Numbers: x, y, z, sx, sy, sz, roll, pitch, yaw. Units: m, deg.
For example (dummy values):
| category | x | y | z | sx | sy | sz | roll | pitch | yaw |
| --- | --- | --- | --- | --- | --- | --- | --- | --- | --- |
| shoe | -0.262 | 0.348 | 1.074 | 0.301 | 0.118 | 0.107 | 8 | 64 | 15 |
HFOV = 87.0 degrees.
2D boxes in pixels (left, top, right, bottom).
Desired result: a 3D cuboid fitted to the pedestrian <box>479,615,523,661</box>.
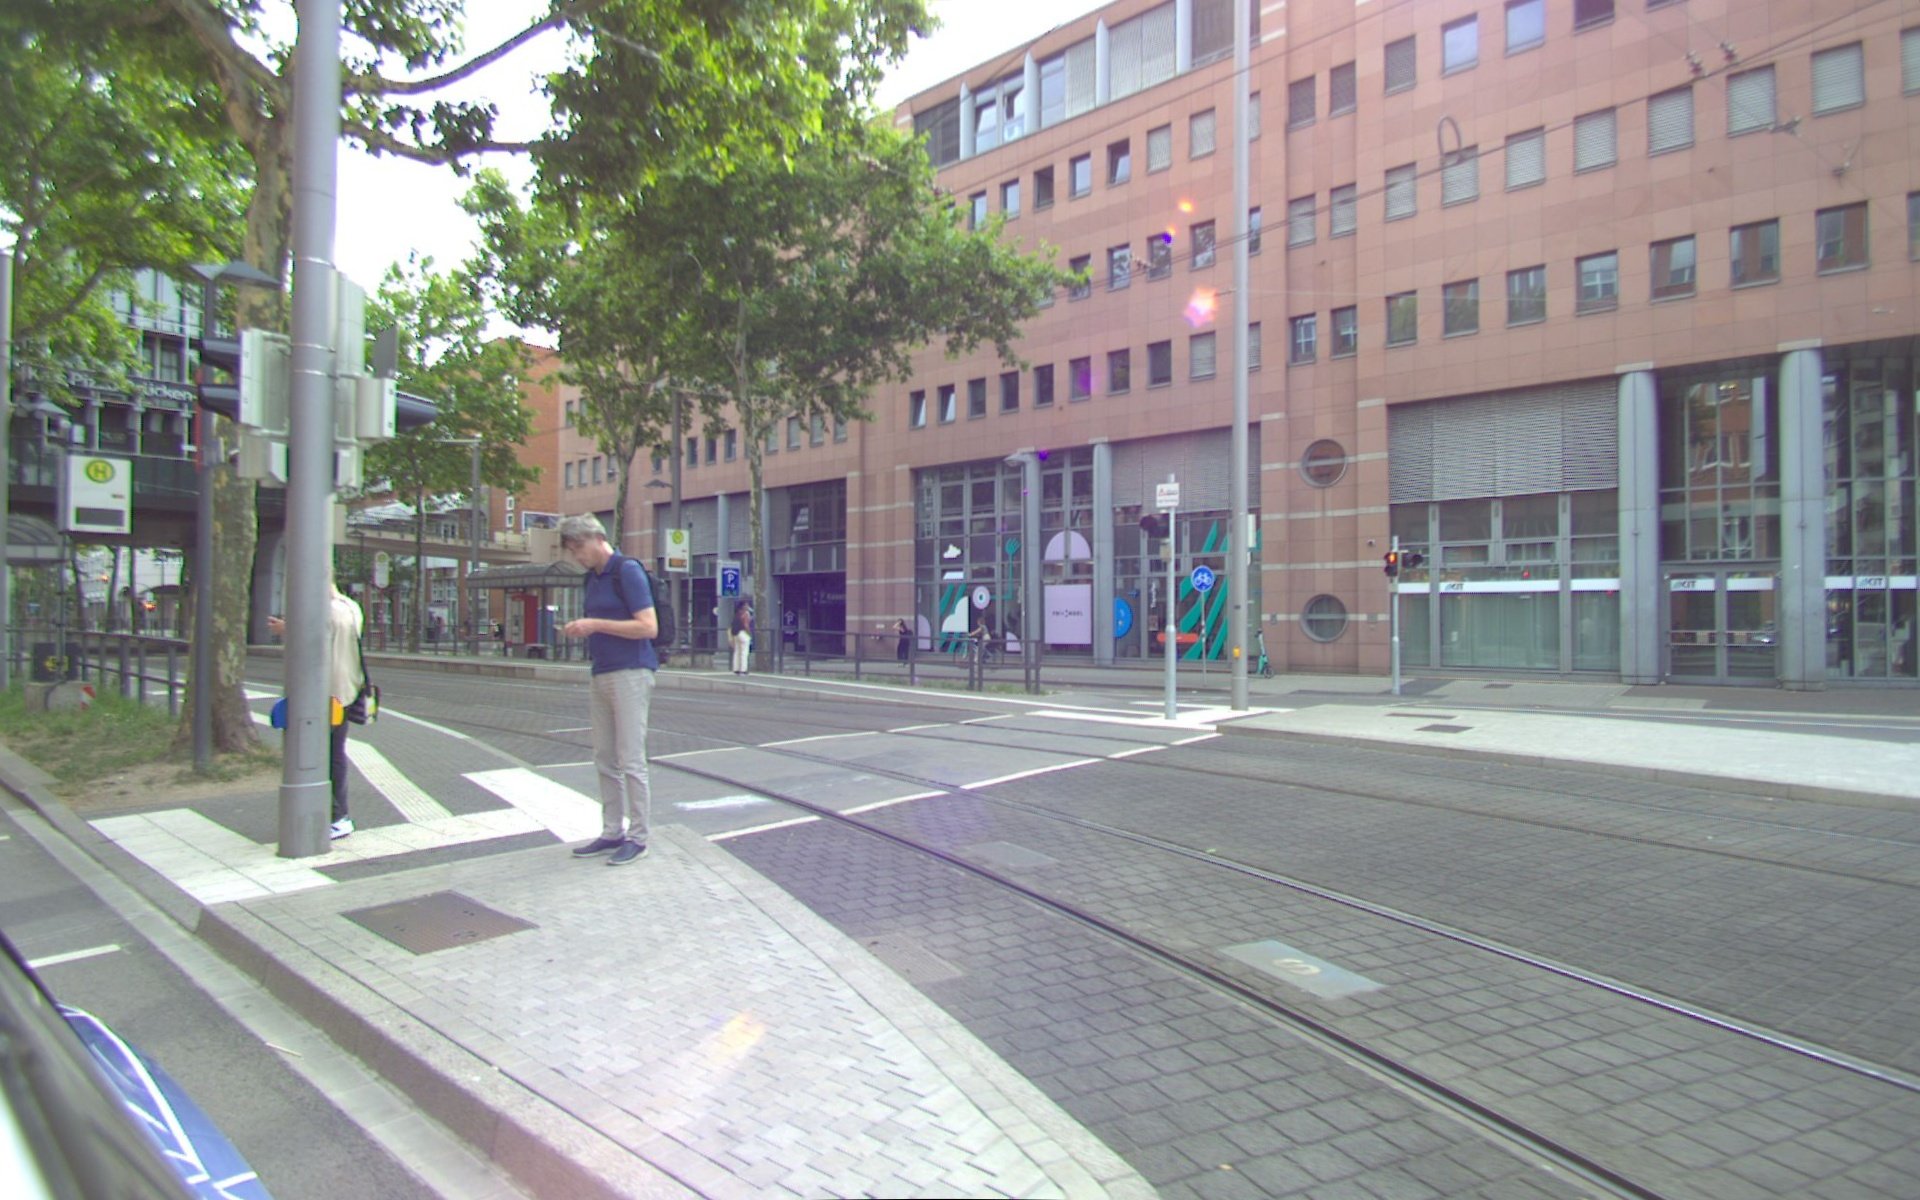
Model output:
| category | x | y | z | sx | sy | sz | roll | pitch | yaw |
| --- | --- | --- | --- | --- | --- | --- | --- | --- | --- |
| pedestrian | -21.049 | 1.730 | 46.373 | 1.409 | 2.029 | 1.361 | -2 | 0 | -45 |

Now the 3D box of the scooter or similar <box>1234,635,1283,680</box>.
| category | x | y | z | sx | sy | sz | roll | pitch | yaw |
| --- | --- | --- | --- | --- | --- | --- | --- | --- | --- |
| scooter or similar | 7.776 | 1.487 | 26.386 | 1.111 | 1.142 | 0.513 | -2 | -2 | 42 |

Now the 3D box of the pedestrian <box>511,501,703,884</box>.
| category | x | y | z | sx | sy | sz | roll | pitch | yaw |
| --- | --- | --- | --- | --- | --- | --- | --- | --- | --- |
| pedestrian | -1.926 | 0.466 | 5.527 | 0.806 | 1.889 | 0.684 | -2 | -2 | 41 |

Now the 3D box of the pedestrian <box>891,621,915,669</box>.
| category | x | y | z | sx | sy | sz | roll | pitch | yaw |
| --- | --- | --- | --- | --- | --- | --- | --- | --- | --- |
| pedestrian | -1.884 | 1.487 | 33.617 | 0.600 | 1.585 | 0.522 | -1 | -2 | 41 |

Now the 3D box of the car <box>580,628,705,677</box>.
| category | x | y | z | sx | sy | sz | roll | pitch | yaw |
| --- | --- | --- | --- | --- | --- | --- | --- | --- | --- |
| car | -10.322 | 1.658 | 32.765 | 4.292 | 1.484 | 1.844 | -1 | -2 | 40 |

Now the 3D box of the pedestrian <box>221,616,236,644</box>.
| category | x | y | z | sx | sy | sz | roll | pitch | yaw |
| --- | --- | --- | --- | --- | --- | --- | --- | --- | --- |
| pedestrian | -53.583 | 2.205 | 74.164 | 0.773 | 2.029 | 0.707 | -1 | 0 | 41 |

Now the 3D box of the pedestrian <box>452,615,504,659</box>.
| category | x | y | z | sx | sy | sz | roll | pitch | yaw |
| --- | --- | --- | --- | --- | --- | --- | --- | --- | --- |
| pedestrian | -23.316 | 1.777 | 48.928 | 2.035 | 2.029 | 1.672 | -1 | 0 | 45 |

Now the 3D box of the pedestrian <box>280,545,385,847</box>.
| category | x | y | z | sx | sy | sz | roll | pitch | yaw |
| --- | --- | --- | --- | --- | --- | --- | --- | --- | --- |
| pedestrian | -3.984 | 0.581 | 6.457 | 0.526 | 1.805 | 0.579 | 1 | -2 | -29 |

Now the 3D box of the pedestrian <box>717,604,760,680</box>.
| category | x | y | z | sx | sy | sz | roll | pitch | yaw |
| --- | --- | --- | --- | --- | --- | --- | --- | --- | --- |
| pedestrian | -4.647 | 0.863 | 21.277 | 0.558 | 1.549 | 0.650 | 1 | 0 | 37 |

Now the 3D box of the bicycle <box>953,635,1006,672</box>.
| category | x | y | z | sx | sy | sz | roll | pitch | yaw |
| --- | --- | --- | --- | --- | --- | --- | --- | --- | --- |
| bicycle | 0.590 | 1.665 | 31.511 | 1.582 | 1.126 | 0.542 | -1 | -2 | 29 |

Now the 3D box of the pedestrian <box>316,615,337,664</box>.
| category | x | y | z | sx | sy | sz | roll | pitch | yaw |
| --- | --- | --- | --- | --- | --- | --- | --- | --- | --- |
| pedestrian | -23.196 | 1.449 | 37.040 | 0.480 | 1.784 | 0.476 | -1 | -2 | 34 |

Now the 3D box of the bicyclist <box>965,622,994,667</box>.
| category | x | y | z | sx | sy | sz | roll | pitch | yaw |
| --- | --- | --- | --- | --- | --- | --- | --- | --- | --- |
| bicyclist | 0.604 | 1.368 | 31.515 | 0.735 | 1.391 | 0.547 | -1 | -2 | 29 |
